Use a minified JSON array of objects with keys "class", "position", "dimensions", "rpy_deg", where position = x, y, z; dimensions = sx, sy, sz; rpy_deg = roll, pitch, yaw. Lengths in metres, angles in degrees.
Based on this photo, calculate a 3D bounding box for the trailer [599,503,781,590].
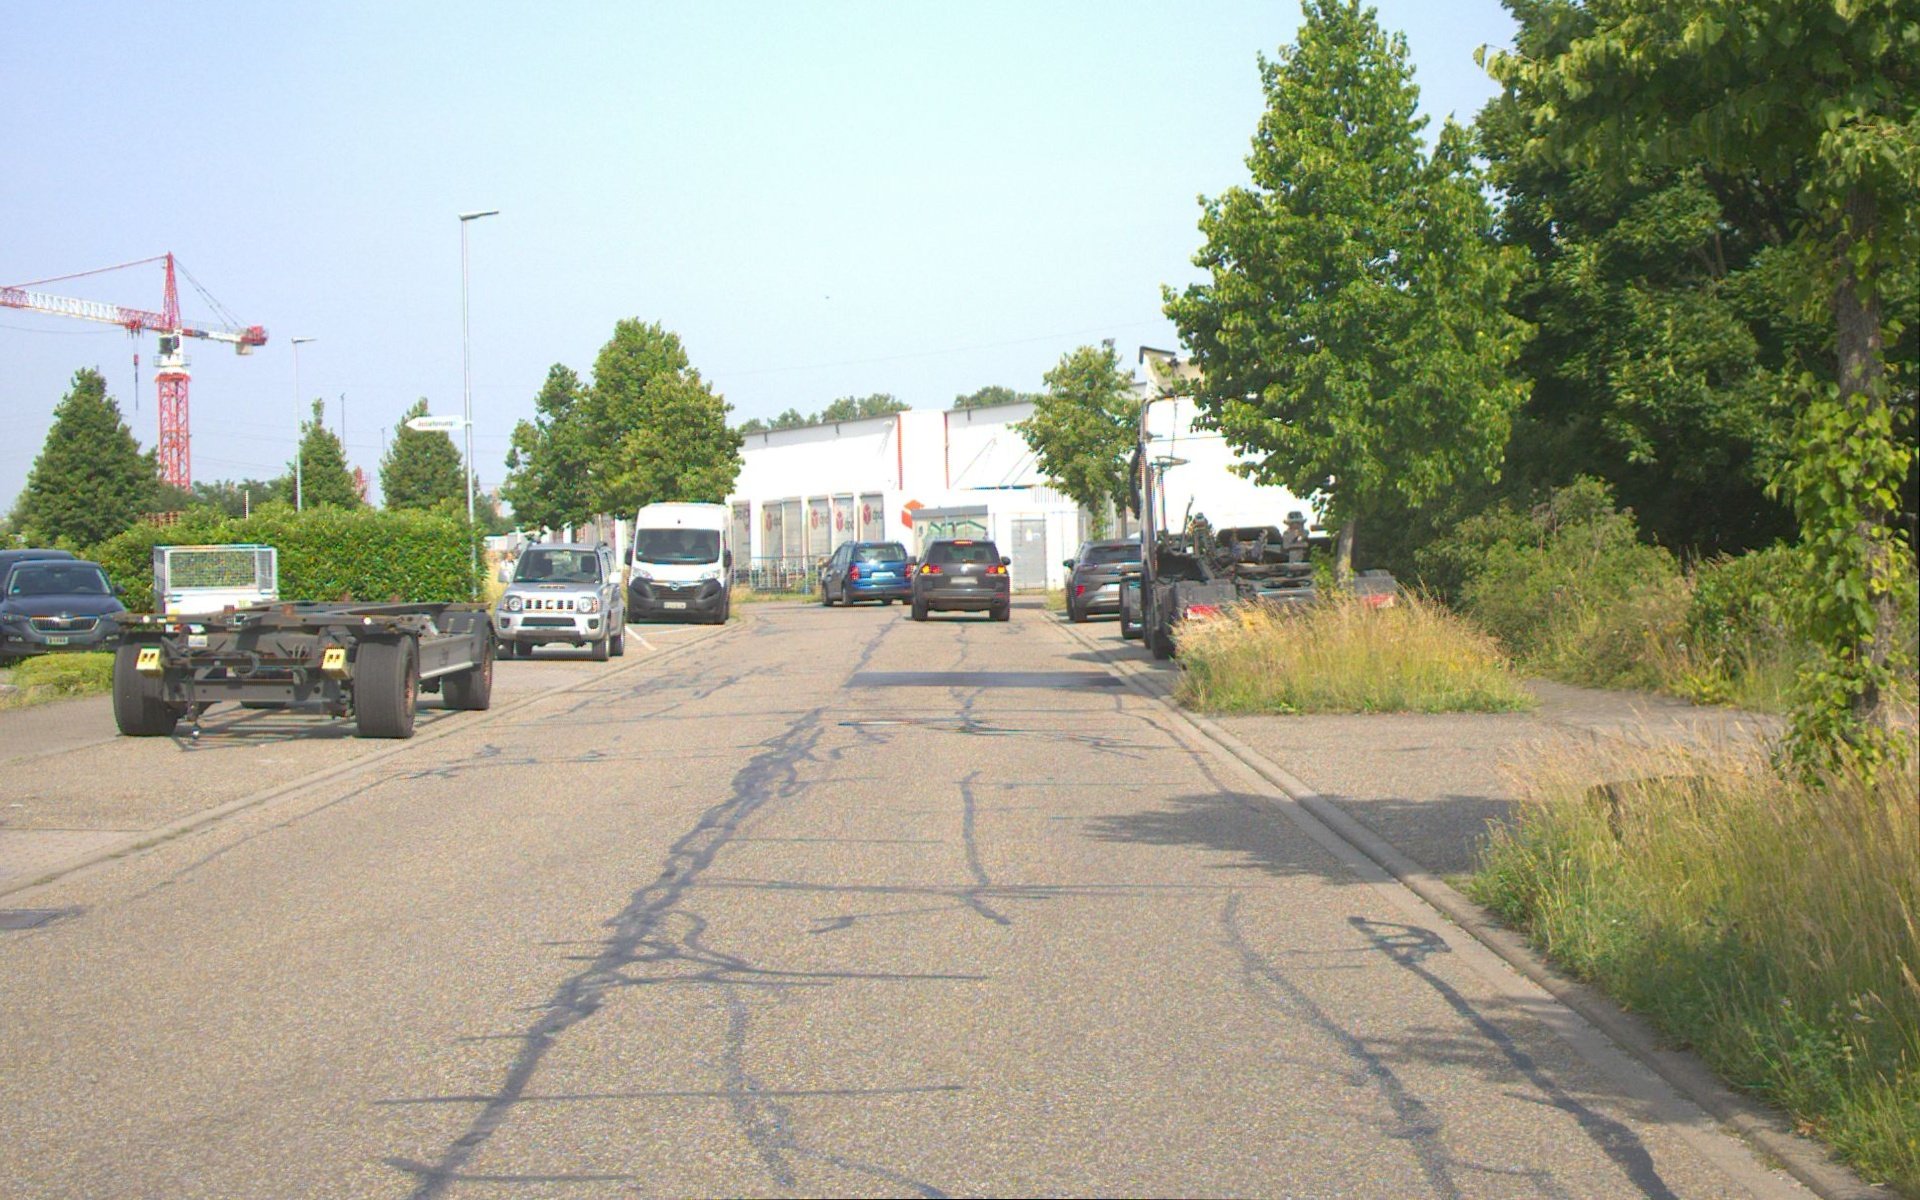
[{"class":"trailer","position":[-12.702,-2.508,161.777],"dimensions":[7.960,3.880,2.776],"rpy_deg":[1,1,-23]}]

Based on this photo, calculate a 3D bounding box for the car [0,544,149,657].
[{"class":"car","position":[-12.486,-0.024,47.884],"dimensions":[1.975,1.471,4.423],"rpy_deg":[-1,1,-17]}]

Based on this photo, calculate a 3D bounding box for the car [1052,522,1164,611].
[{"class":"car","position":[2.791,-0.626,65.621],"dimensions":[1.880,1.568,4.113],"rpy_deg":[-2,0,0]}]

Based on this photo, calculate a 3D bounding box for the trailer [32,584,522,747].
[{"class":"trailer","position":[-5.866,0.481,31.265],"dimensions":[2.546,1.070,9.732],"rpy_deg":[0,1,0]}]

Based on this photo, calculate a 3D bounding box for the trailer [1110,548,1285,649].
[{"class":"trailer","position":[3.323,-0.075,49.507],"dimensions":[1.938,1.231,7.451],"rpy_deg":[-3,1,0]}]

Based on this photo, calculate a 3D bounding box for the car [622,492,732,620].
[{"class":"car","position":[-6.044,-0.959,74.149],"dimensions":[2.102,2.586,6.505],"rpy_deg":[2,1,-3]}]

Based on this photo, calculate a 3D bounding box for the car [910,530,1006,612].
[{"class":"car","position":[-0.042,-0.594,70.143],"dimensions":[1.880,1.581,4.113],"rpy_deg":[-1,0,0]}]

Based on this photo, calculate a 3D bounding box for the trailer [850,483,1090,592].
[{"class":"trailer","position":[0.395,-2.314,129.010],"dimensions":[8.533,3.880,2.776],"rpy_deg":[1,1,-23]}]

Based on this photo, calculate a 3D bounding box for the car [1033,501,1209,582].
[{"class":"car","position":[4.361,-1.593,93.879],"dimensions":[4.609,2.103,2.128],"rpy_deg":[-1,0,-2]}]

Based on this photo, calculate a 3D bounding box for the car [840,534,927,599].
[{"class":"car","position":[-1.970,-0.844,87.174],"dimensions":[1.968,1.568,4.114],"rpy_deg":[-1,0,-4]}]

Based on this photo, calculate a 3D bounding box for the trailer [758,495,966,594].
[{"class":"trailer","position":[-4.026,-2.277,141.470],"dimensions":[8.031,3.880,2.776],"rpy_deg":[1,1,-23]}]

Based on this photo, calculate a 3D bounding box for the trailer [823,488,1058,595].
[{"class":"trailer","position":[-0.747,-2.229,131.964],"dimensions":[8.533,3.880,2.776],"rpy_deg":[1,1,-23]}]

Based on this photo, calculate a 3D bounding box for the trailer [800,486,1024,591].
[{"class":"trailer","position":[-1.870,-2.395,134.748],"dimensions":[8.305,3.880,2.776],"rpy_deg":[1,1,-23]}]

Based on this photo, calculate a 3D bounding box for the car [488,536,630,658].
[{"class":"car","position":[-5.736,-0.077,49.513],"dimensions":[1.597,1.645,3.644],"rpy_deg":[-1,1,0]}]

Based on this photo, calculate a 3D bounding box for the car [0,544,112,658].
[{"class":"car","position":[-14.170,-0.014,52.695],"dimensions":[1.989,1.652,4.423],"rpy_deg":[-1,1,-17]}]

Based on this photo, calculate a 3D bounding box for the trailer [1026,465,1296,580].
[{"class":"trailer","position":[6.765,-2.560,115.422],"dimensions":[8.729,3.748,2.791],"rpy_deg":[0,0,-23]}]

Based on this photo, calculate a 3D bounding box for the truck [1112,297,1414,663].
[{"class":"truck","position":[3.525,-1.394,41.491],"dimensions":[2.691,3.950,6.048],"rpy_deg":[-3,1,-2]}]

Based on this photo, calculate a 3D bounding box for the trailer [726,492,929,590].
[{"class":"trailer","position":[-5.552,-2.449,144.059],"dimensions":[7.960,3.880,2.776],"rpy_deg":[1,1,-23]}]

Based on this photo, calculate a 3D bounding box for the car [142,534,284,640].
[{"class":"car","position":[-11.604,-0.209,53.249],"dimensions":[1.833,1.566,3.818],"rpy_deg":[1,1,-17]}]

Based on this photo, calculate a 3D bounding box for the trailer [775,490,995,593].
[{"class":"trailer","position":[-2.978,-2.326,137.609],"dimensions":[8.305,3.880,2.776],"rpy_deg":[1,1,-23]}]
